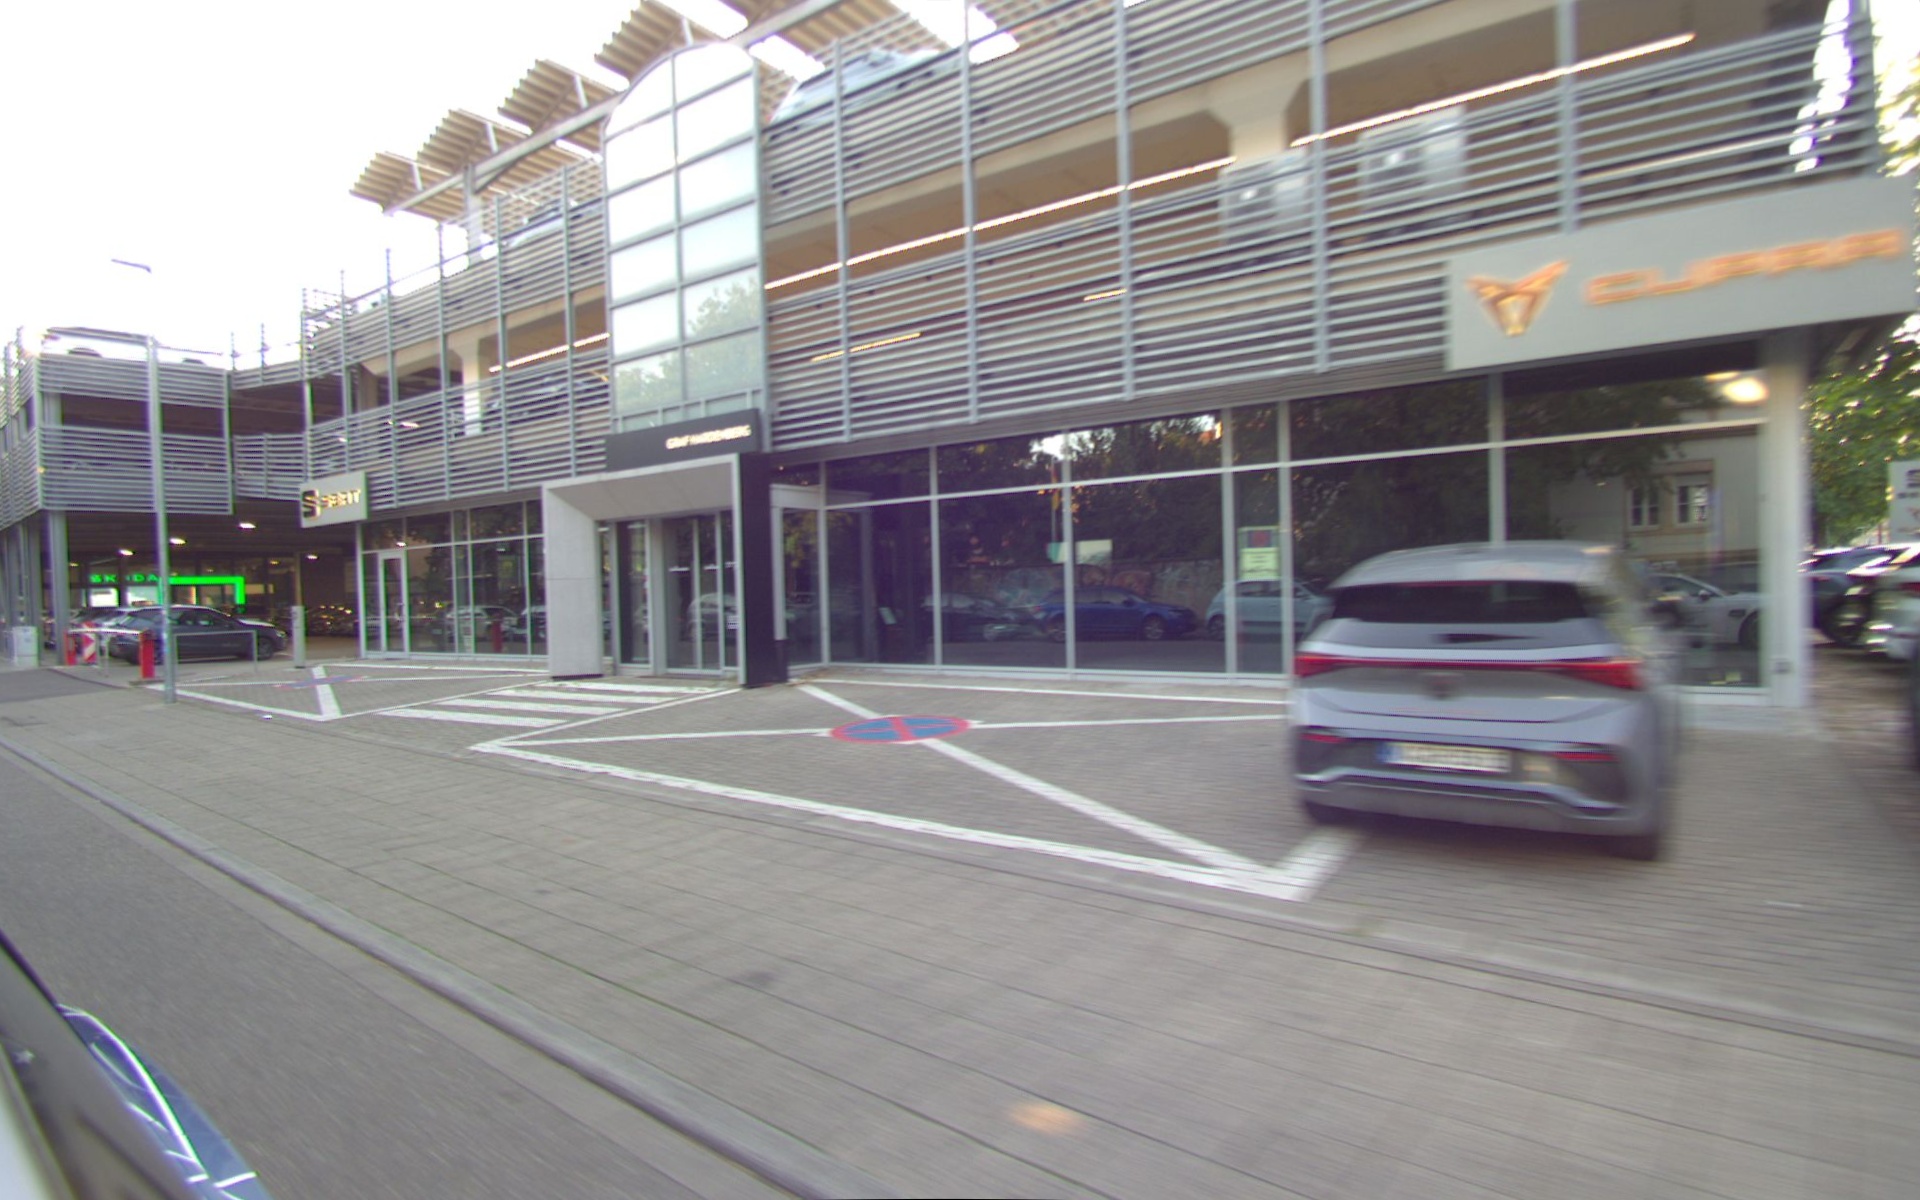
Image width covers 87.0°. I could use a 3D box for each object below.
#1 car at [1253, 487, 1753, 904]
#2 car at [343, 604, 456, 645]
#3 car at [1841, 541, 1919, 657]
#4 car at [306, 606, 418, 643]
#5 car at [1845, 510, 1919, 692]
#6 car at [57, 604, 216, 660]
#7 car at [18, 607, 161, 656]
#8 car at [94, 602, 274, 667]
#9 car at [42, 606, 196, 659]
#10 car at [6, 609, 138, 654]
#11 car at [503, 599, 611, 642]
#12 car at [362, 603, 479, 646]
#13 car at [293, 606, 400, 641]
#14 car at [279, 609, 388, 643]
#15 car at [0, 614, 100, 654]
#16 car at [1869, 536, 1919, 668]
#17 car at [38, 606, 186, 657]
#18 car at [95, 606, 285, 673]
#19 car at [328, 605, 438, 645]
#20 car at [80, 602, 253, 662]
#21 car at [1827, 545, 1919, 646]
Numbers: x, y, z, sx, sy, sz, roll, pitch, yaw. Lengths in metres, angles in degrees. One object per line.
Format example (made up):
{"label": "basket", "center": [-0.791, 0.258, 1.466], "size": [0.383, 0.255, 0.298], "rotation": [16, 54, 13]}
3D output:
{"label": "car", "center": [3.549, 0.291, 6.149], "size": [1.911, 1.630, 4.090], "rotation": [-3, 1, 39]}
{"label": "car", "center": [-24.831, 1.076, 44.917], "size": [1.859, 1.570, 3.945], "rotation": [-3, 0, 42]}
{"label": "car", "center": [12.895, -0.063, 12.064], "size": [3.477, 1.389, 1.686], "rotation": [-2, 1, 38]}
{"label": "car", "center": [-28.091, 1.127, 47.632], "size": [1.859, 1.532, 4.161], "rotation": [-3, 0, 42]}
{"label": "car", "center": [10.092, -0.055, 8.232], "size": [4.218, 1.562, 1.686], "rotation": [-2, 1, 38]}
{"label": "car", "center": [-28.597, 1.083, 35.223], "size": [1.859, 1.696, 4.021], "rotation": [-3, 0, 42]}
{"label": "car", "center": [-34.206, 1.229, 39.842], "size": [1.859, 1.696, 4.060], "rotation": [-3, 0, 42]}
{"label": "car", "center": [-23.437, 1.009, 30.663], "size": [1.859, 1.696, 4.037], "rotation": [-3, 0, 42]}
{"label": "car", "center": [-30.459, 1.147, 36.728], "size": [1.859, 1.696, 4.060], "rotation": [-3, 0, 42]}
{"label": "car", "center": [-37.514, 1.308, 42.802], "size": [1.859, 1.696, 3.983], "rotation": [-3, 0, 42]}
{"label": "car", "center": [-18.097, 0.900, 45.561], "size": [1.859, 1.696, 4.105], "rotation": [-3, 0, 42]}
{"label": "car", "center": [-23.094, 1.028, 43.387], "size": [1.859, 1.608, 3.993], "rotation": [-3, 0, 42]}
{"label": "car", "center": [-29.605, 1.106, 48.935], "size": [1.859, 1.466, 4.032], "rotation": [-3, 0, 42]}
{"label": "car", "center": [-31.496, 1.297, 50.979], "size": [1.859, 1.499, 4.291], "rotation": [-3, 0, 42]}
{"label": "car", "center": [-43.287, 1.609, 47.685], "size": [1.859, 1.696, 3.993], "rotation": [-3, 0, 42]}
{"label": "car", "center": [11.820, -0.040, 10.437], "size": [3.477, 1.389, 1.686], "rotation": [-2, 1, 38]}
{"label": "car", "center": [-32.205, 1.179, 38.521], "size": [1.859, 1.696, 4.060], "rotation": [-3, 0, 42]}
{"label": "car", "center": [-21.701, 1.050, 28.653], "size": [1.858, 1.597, 3.948], "rotation": [0, 2, 39]}
{"label": "car", "center": [-26.366, 1.124, 46.306], "size": [1.859, 1.570, 3.945], "rotation": [-3, 0, 42]}
{"label": "car", "center": [-25.239, 0.992, 32.291], "size": [1.859, 1.696, 4.044], "rotation": [-3, 0, 42]}
{"label": "car", "center": [14.352, -0.104, 13.993], "size": [3.477, 1.389, 1.686], "rotation": [-2, 1, 38]}
